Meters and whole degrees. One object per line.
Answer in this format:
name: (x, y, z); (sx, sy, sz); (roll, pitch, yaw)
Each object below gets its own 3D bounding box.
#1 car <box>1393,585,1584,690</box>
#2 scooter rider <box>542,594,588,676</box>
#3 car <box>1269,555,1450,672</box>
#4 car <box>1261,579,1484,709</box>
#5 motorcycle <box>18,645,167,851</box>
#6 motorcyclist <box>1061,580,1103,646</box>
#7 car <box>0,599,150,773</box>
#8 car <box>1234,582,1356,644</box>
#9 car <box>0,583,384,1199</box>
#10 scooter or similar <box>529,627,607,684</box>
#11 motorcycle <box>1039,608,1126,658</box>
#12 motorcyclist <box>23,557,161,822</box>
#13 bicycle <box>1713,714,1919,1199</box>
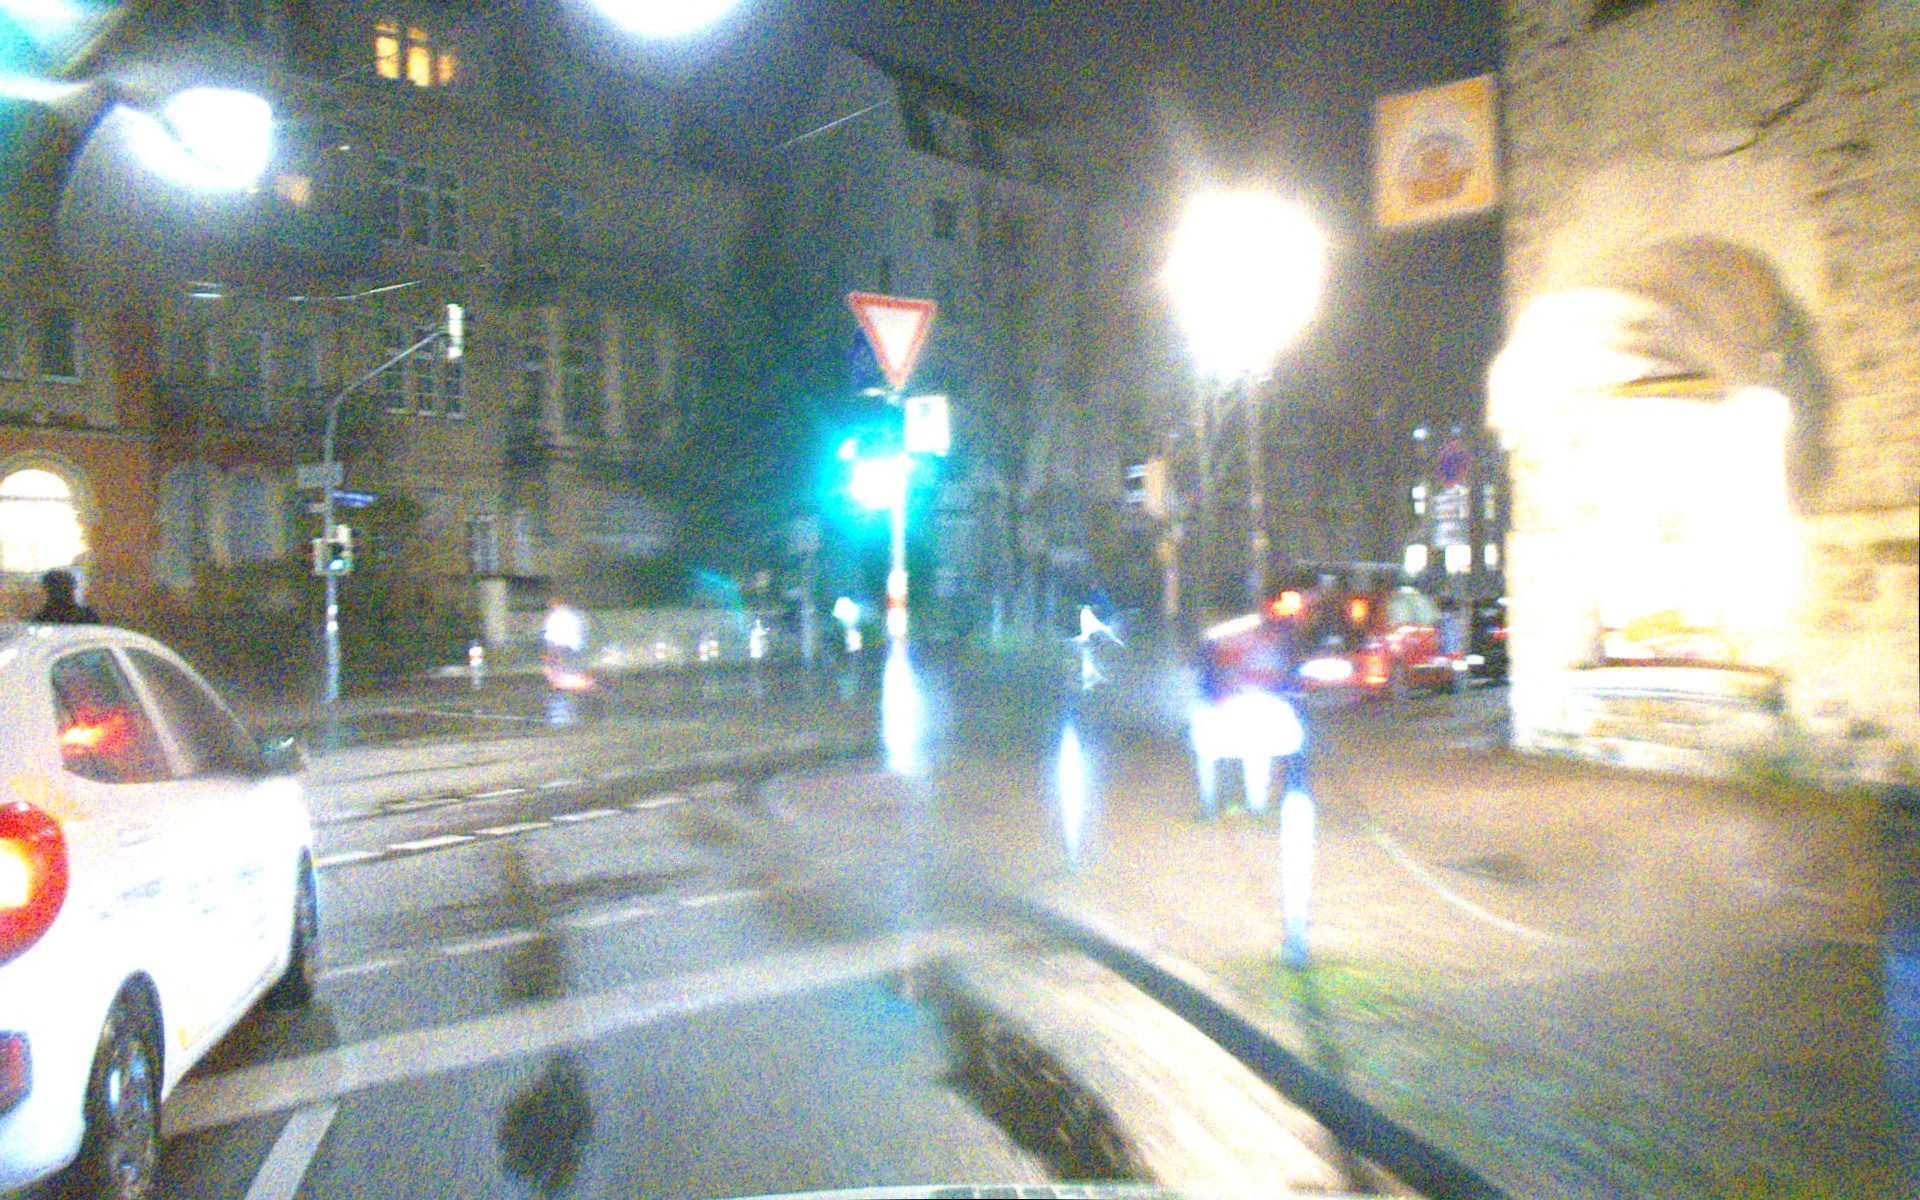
car: (8.706, 0.574, 27.047); (1.618, 1.467, 4.038); (-6, -3, 37)
scooter rider: (-7.818, 0.687, 32.749); (0.646, 1.600, 0.633); (1, 1, -41)
car: (9.255, 0.254, 37.957); (2.179, 2.484, 5.364); (0, 0, 36)
car: (5.771, 0.570, 22.891); (1.620, 1.551, 3.565); (-6, -3, 37)
motorcycle: (-6.054, 0.953, 11.481); (0.781, 1.234, 2.226); (1, -1, -31)
motorcyclist: (3.307, 0.359, 45.016); (1.004, 1.761, 0.710); (-2, -2, -1)
car: (-10.167, 0.884, 18.742); (1.727, 1.770, 3.766); (1, -1, -27)
car: (11.497, 0.390, 56.458); (1.961, 1.857, 5.286); (2, 3, 37)
car: (-2.947, 0.747, 4.895); (1.886, 1.542, 3.587); (-1, 1, -12)
scooter or similar: (-7.769, 1.092, 32.803); (1.357, 1.070, 0.633); (0, 1, -41)
motorcycle: (3.327, 0.888, 44.994); (2.271, 1.252, 0.710); (-2, -2, -1)
motorcyclist: (-5.967, 0.588, 11.362); (0.781, 1.724, 0.811); (1, -1, -31)
bicycle: (2.613, 0.741, 3.301); (1.930, 1.024, 0.642); (-2, -1, -5)
